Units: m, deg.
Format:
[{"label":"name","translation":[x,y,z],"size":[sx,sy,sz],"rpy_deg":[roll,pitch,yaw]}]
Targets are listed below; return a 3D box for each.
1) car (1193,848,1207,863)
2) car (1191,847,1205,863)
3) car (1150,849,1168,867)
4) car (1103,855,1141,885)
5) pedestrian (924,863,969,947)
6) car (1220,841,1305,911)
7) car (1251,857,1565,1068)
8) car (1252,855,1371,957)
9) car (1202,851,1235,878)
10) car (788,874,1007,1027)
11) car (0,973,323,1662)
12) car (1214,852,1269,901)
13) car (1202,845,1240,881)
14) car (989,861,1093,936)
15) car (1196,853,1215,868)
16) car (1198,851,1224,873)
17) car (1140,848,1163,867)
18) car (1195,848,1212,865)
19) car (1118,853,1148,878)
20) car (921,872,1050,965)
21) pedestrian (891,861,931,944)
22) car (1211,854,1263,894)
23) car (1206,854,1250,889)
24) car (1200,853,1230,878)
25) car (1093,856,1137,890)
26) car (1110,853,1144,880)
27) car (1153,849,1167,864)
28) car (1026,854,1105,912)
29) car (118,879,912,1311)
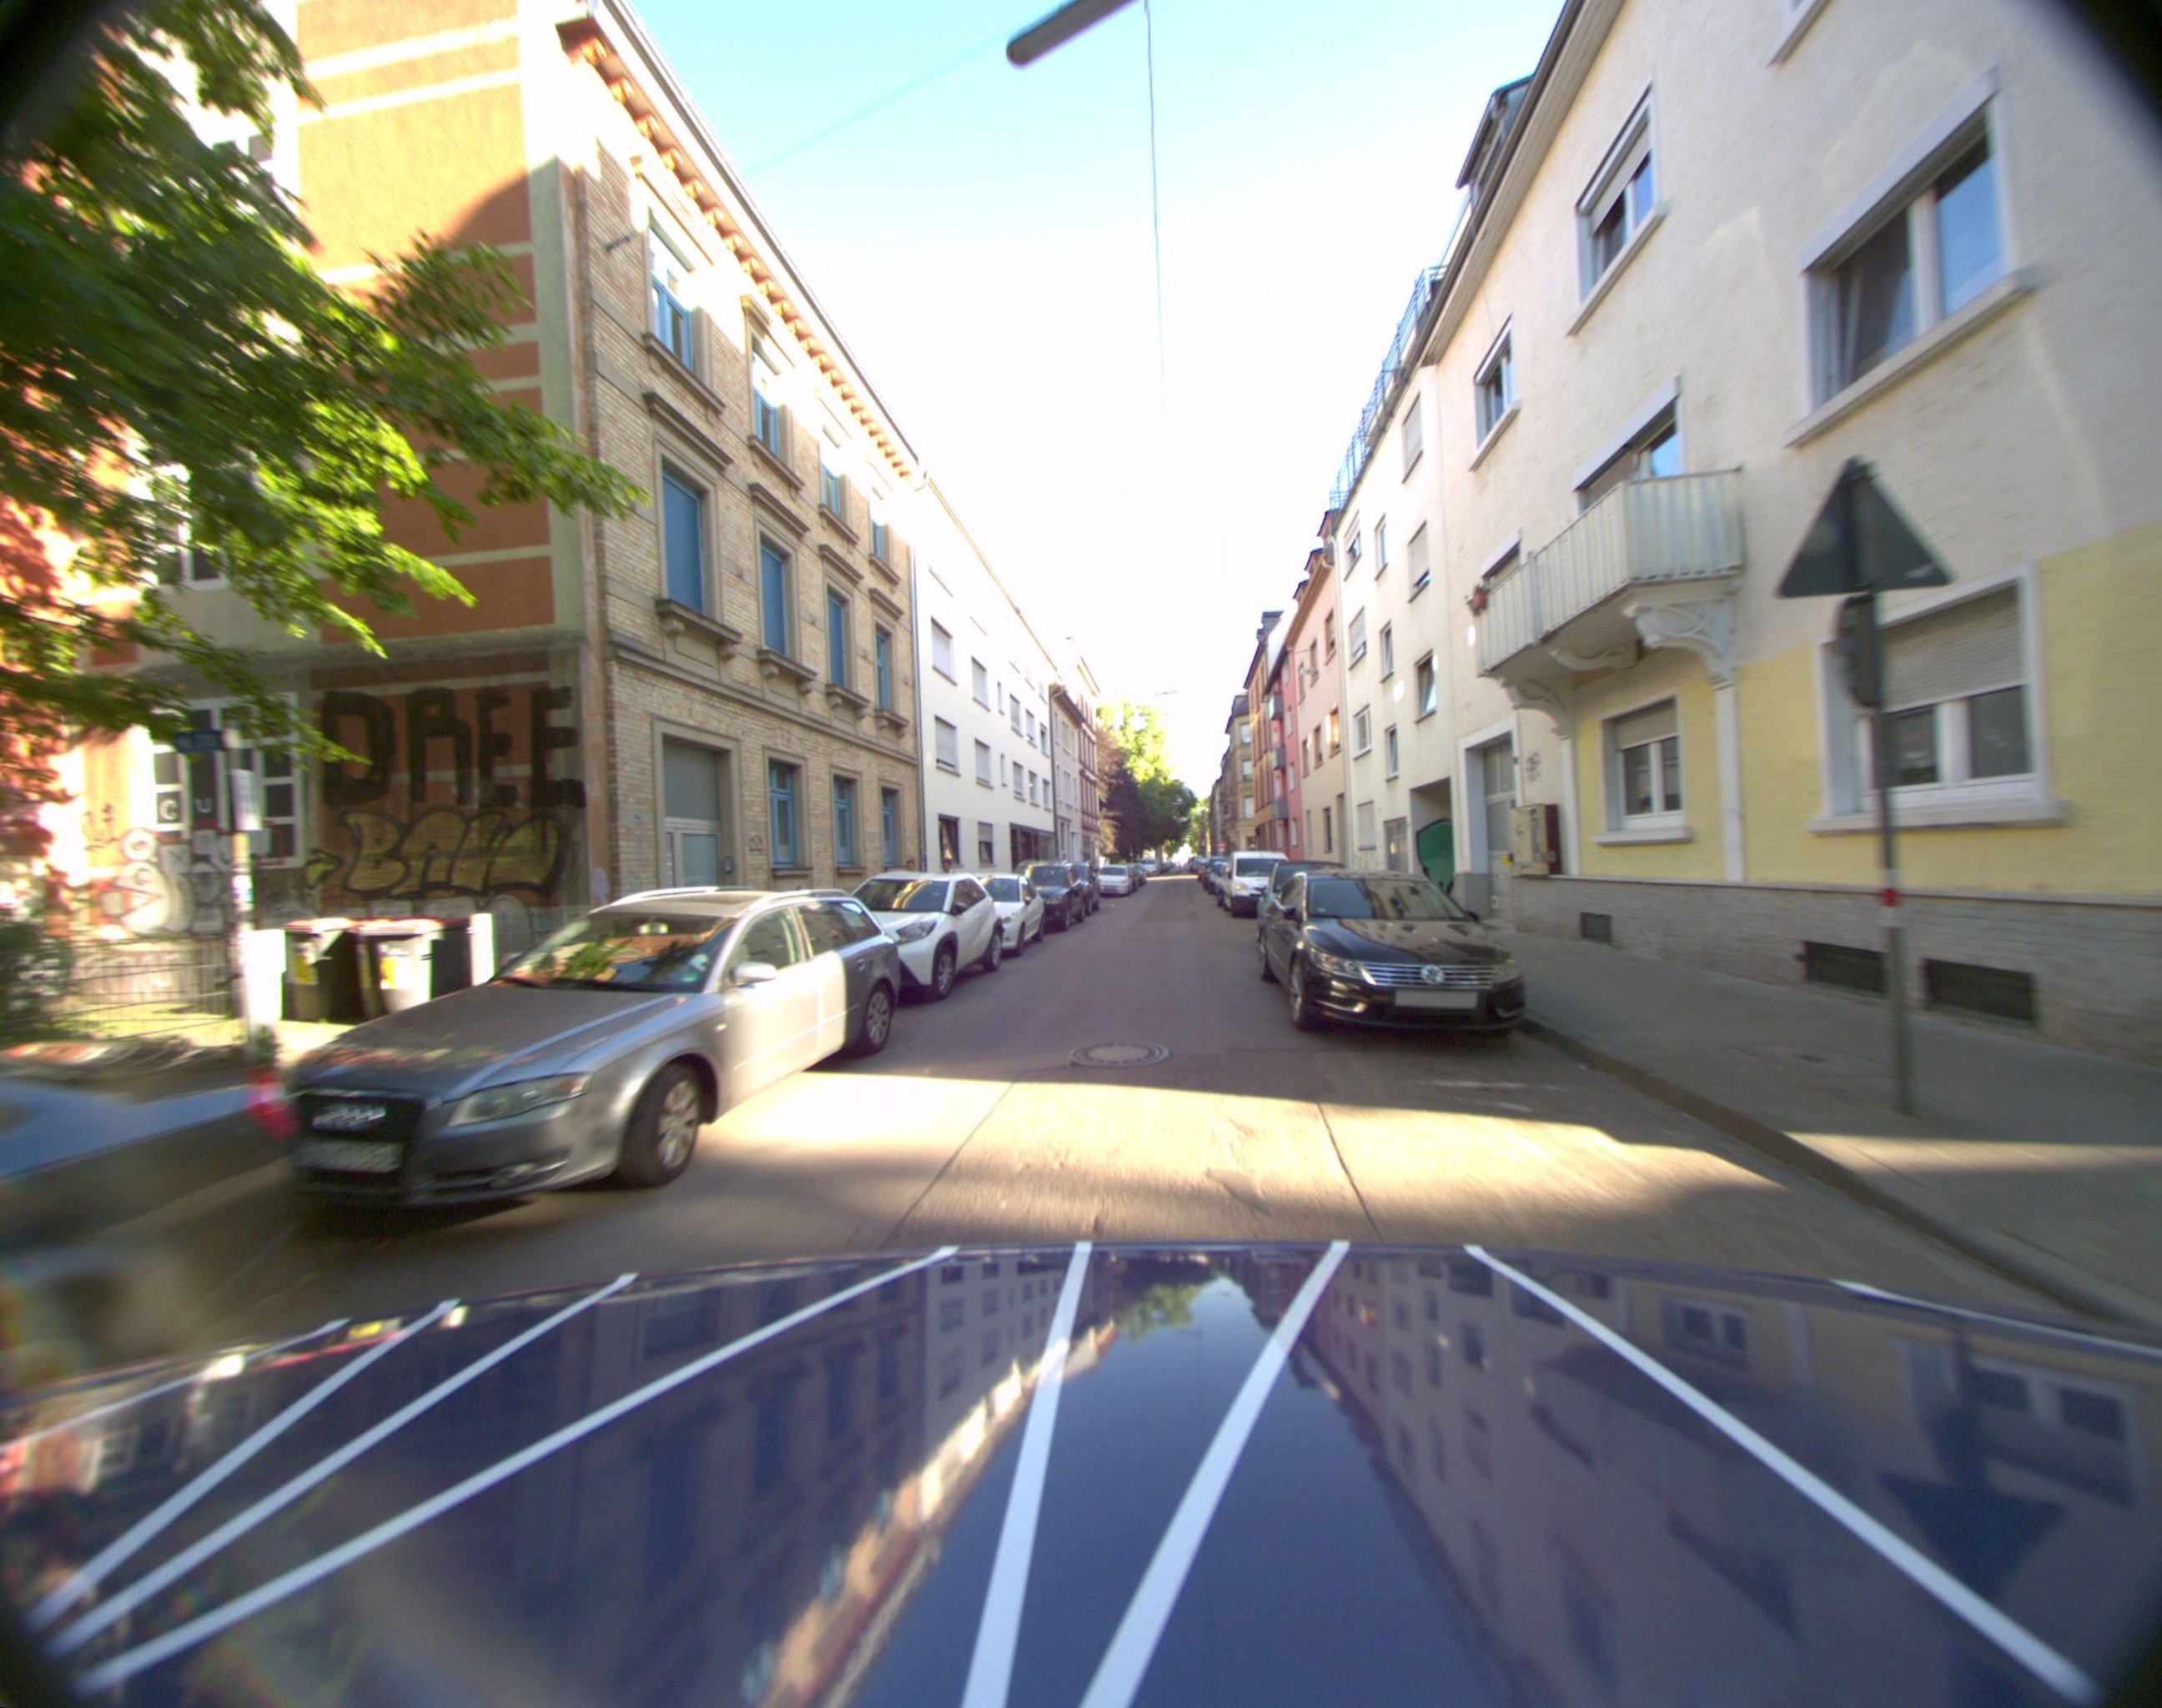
[{"label":"car","translation":[15.318,0.136,97.893],"size":[1.767,1.914,4.266],"rpy_deg":[1,1,8]},{"label":"car","translation":[16.125,0.105,104.553],"size":[1.767,2.075,4.266],"rpy_deg":[1,1,8]},{"label":"car","translation":[8.665,0.457,84.595],"size":[1.767,1.846,4.288],"rpy_deg":[-2,0,8]},{"label":"car","translation":[2.277,0.812,41.509],"size":[1.767,1.524,4.105],"rpy_deg":[0,0,8]},{"label":"pedestrian","translation":[-2.850,1.061,16.141],"size":[0.711,1.699,0.752],"rpy_deg":[1,1,7]},{"label":"car","translation":[4.875,0.527,20.956],"size":[1.753,1.731,4.317],"rpy_deg":[1,1,6]},{"label":"car","translation":[2.847,0.787,7.712],"size":[1.782,1.435,4.395],"rpy_deg":[1,1,8]},{"label":"car","translation":[3.770,0.754,12.913],"size":[1.596,1.442,3.488],"rpy_deg":[1,1,11]},{"label":"car","translation":[8.128,0.607,45.108],"size":[1.767,1.524,4.105],"rpy_deg":[0,0,8]},{"label":"car","translation":[-2.224,1.109,10.261],"size":[1.596,1.576,3.766],"rpy_deg":[-1,0,8]},{"label":"car","translation":[-3.489,1.135,0.301],"size":[1.724,1.485,4.415],"rpy_deg":[-1,0,5]},{"label":"car","translation":[5.490,0.689,25.859],"size":[1.673,1.519,4.089],"rpy_deg":[1,1,13]},{"label":"car","translation":[7.373,0.428,40.204],"size":[1.767,1.814,4.105],"rpy_deg":[1,1,8]},{"label":"car","translation":[-0.880,1.047,19.440],"size":[1.769,1.657,4.331],"rpy_deg":[-1,0,9]},{"label":"car","translation":[12.868,0.687,78.591],"size":[1.767,1.463,3.935],"rpy_deg":[1,1,8]},{"label":"car","translation":[9.419,0.562,55.293],"size":[1.767,1.524,4.105],"rpy_deg":[1,1,8]},{"label":"car","translation":[7.296,0.337,78.114],"size":[1.864,1.970,4.484],"rpy_deg":[1,1,11]},{"label":"car","translation":[13.489,0.278,83.932],"size":[1.767,1.846,3.995],"rpy_deg":[1,1,8]},{"label":"car","translation":[3.531,0.737,51.047],"size":[1.767,1.524,4.105],"rpy_deg":[1,1,8]},{"label":"car","translation":[-1.679,1.131,14.661],"size":[1.596,1.442,4.005],"rpy_deg":[-1,0,6]},{"label":"pedestrian","translation":[-3.623,1.013,16.203],"size":[0.598,1.699,0.707],"rpy_deg":[1,1,7]},{"label":"car","translation":[6.131,0.734,30.236],"size":[1.674,1.450,4.087],"rpy_deg":[1,1,7]},{"label":"car","translation":[6.687,0.749,34.898],"size":[1.767,1.463,3.818],"rpy_deg":[1,1,8]},{"label":"car","translation":[8.698,0.727,49.598],"size":[1.767,1.524,4.105],"rpy_deg":[1,1,8]},{"label":"car","translation":[1.699,0.890,37.156],"size":[1.767,1.508,4.105],"rpy_deg":[1,1,8]},{"label":"car","translation":[2.819,0.710,45.943],"size":[1.767,1.524,4.105],"rpy_deg":[0,0,8]},{"label":"car","translation":[10.781,0.338,103.147],"size":[1.767,2.006,4.266],"rpy_deg":[1,1,8]},{"label":"car","translation":[-0.405,0.842,24.544],"size":[1.884,1.657,4.330],"rpy_deg":[1,1,8]},{"label":"car","translation":[-2.761,1.011,5.141],"size":[1.662,1.485,4.356],"rpy_deg":[-2,0,8]}]
